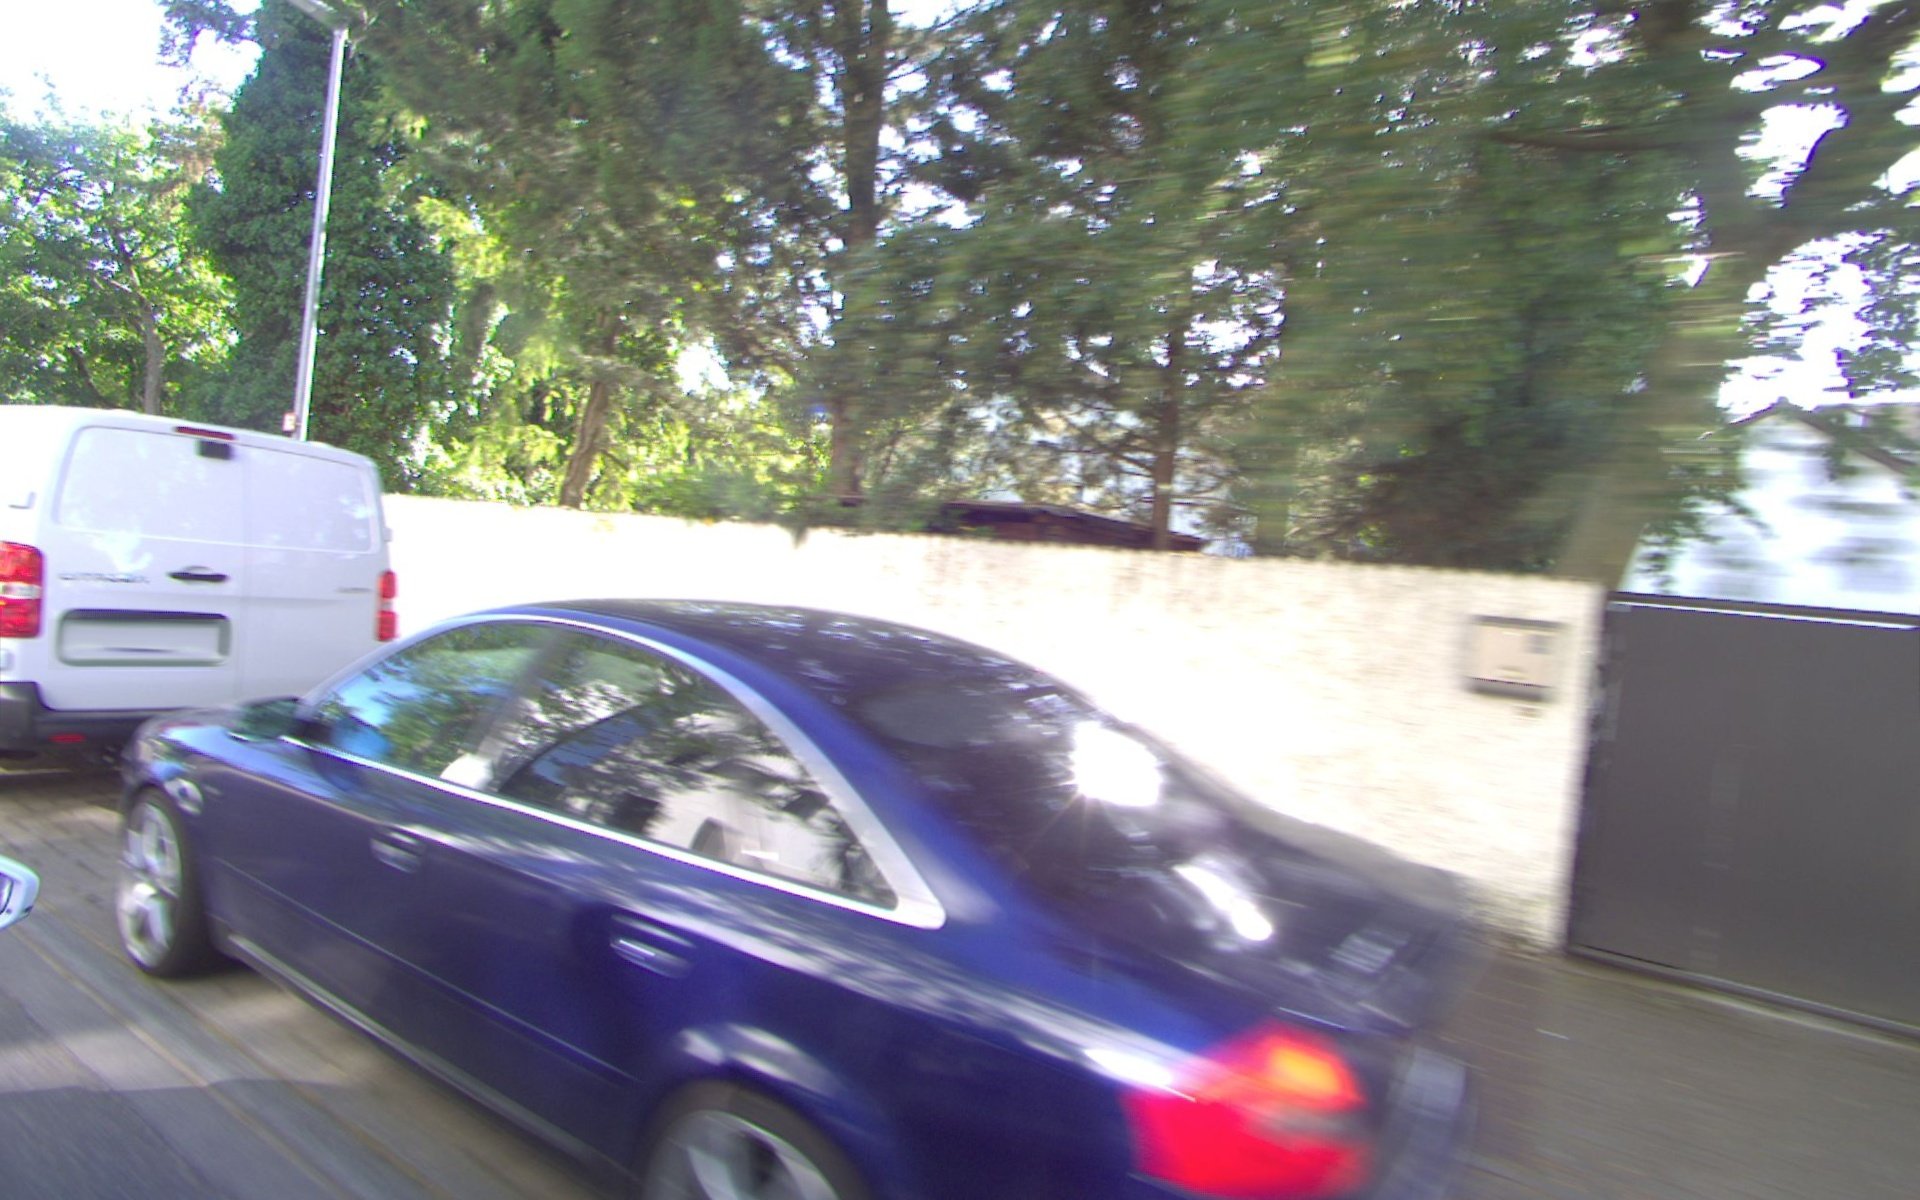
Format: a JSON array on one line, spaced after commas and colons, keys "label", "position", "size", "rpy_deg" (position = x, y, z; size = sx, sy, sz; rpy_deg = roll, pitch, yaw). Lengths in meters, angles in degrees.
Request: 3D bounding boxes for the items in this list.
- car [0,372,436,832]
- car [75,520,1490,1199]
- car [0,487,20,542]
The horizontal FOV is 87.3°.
[{"label": "car", "position": [-5.694, -0.171, 6.315], "size": [5.064, 1.938, 1.900], "rpy_deg": [7, 1, 33]}, {"label": "car", "position": [-0.841, 0.703, 3.194], "size": [4.213, 1.441, 1.827], "rpy_deg": [7, 1, 33]}, {"label": "car", "position": [-31.613, -2.928, 31.647], "size": [4.098, 1.618, 1.826], "rpy_deg": [8, 1, 30]}]
